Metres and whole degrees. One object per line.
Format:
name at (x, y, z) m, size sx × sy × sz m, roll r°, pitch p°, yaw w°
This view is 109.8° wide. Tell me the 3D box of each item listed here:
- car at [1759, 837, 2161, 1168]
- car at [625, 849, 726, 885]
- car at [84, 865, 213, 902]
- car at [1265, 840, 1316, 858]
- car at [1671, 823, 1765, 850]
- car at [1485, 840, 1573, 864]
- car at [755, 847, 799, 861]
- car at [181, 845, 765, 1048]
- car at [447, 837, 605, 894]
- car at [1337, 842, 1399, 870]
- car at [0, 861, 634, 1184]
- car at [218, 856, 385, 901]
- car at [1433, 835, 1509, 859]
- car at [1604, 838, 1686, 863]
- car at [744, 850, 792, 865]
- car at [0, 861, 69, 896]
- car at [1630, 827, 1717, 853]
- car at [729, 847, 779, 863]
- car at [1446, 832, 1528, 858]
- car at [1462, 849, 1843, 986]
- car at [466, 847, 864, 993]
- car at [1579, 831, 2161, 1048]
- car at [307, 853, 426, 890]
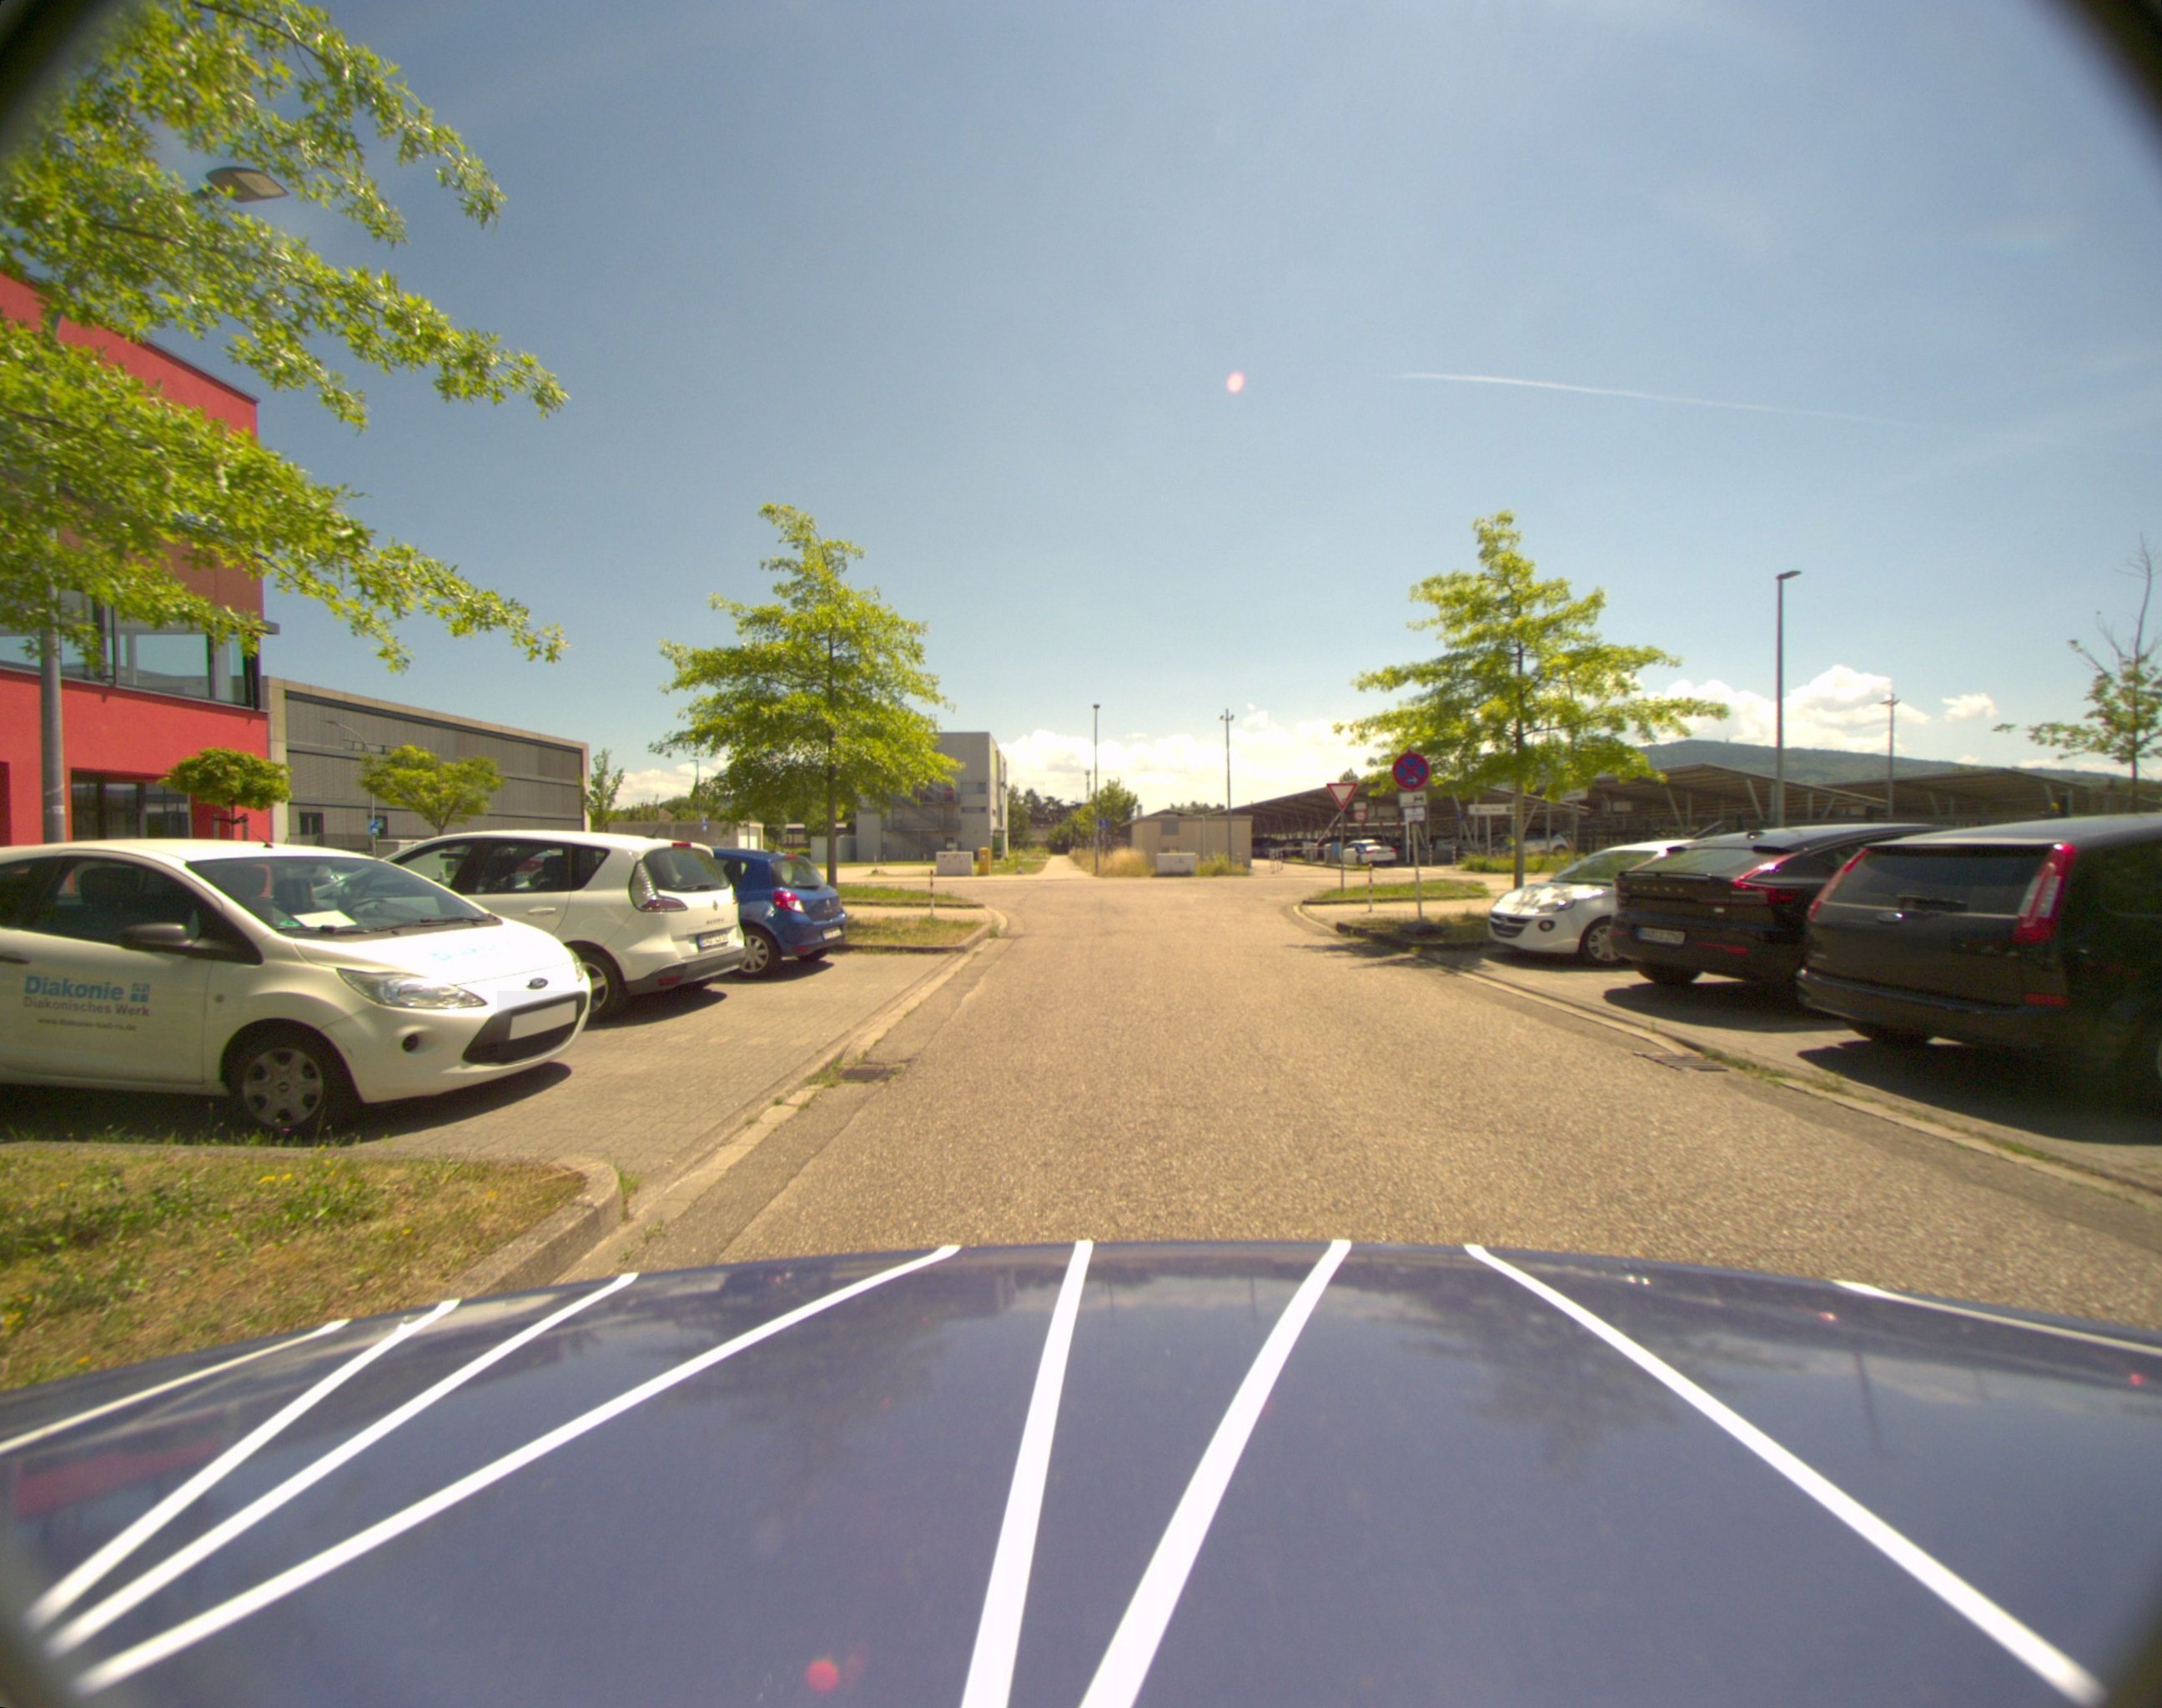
car at (6.865, 0.712, 4.548) m, size 3.915 × 1.583 × 1.728 m, roll -2°, pitch 1°, yaw 5°
car at (-18.465, 0.564, 34.723) m, size 3.625 × 1.493 × 1.682 m, roll -1°, pitch 3°, yaw -1°
car at (-42.154, 1.331, 34.396) m, size 3.625 × 1.461 × 1.658 m, roll -1°, pitch 3°, yaw -1°
car at (17.750, -0.413, 64.496) m, size 3.774 × 1.428 × 1.723 m, roll -1°, pitch 1°, yaw -3°
car at (34.766, -0.939, 41.523) m, size 3.774 × 1.428 × 1.723 m, roll -1°, pitch 1°, yaw -3°
car at (24.198, -0.122, 41.121) m, size 3.774 × 1.221 × 1.723 m, roll -1°, pitch 1°, yaw -3°
car at (-32.215, 0.037, 80.575) m, size 4.054 × 1.379 × 1.658 m, roll -1°, pitch 1°, yaw -1°
car at (-5.402, 0.746, 7.133) m, size 4.119 × 1.641 × 1.774 m, roll 0°, pitch 0°, yaw 3°
car at (-18.783, 0.398, 25.836) m, size 3.997 × 1.764 × 1.811 m, roll -1°, pitch -1°, yaw 0°
car at (15.264, 0.086, 40.622) m, size 1.722 × 1.428 × 3.774 m, roll -1°, pitch 1°, yaw -3°
car at (-4.933, 0.812, 4.506) m, size 3.626 × 1.455 × 1.611 m, roll 1°, pitch 1°, yaw 3°
car at (-26.174, 0.821, 25.615) m, size 3.706 × 1.433 × 1.788 m, roll 0°, pitch -2°, yaw -2°
car at (23.677, -0.441, 46.228) m, size 3.774 × 1.428 × 1.723 m, roll -1°, pitch 1°, yaw -3°
car at (34.377, -0.206, 46.335) m, size 3.774 × 1.428 × 1.723 m, roll -1°, pitch 1°, yaw -3°
car at (-31.716, 0.329, 77.067) m, size 4.054 × 1.417 × 1.658 m, roll -1°, pitch 1°, yaw -1°
car at (-49.061, 1.119, 34.581) m, size 3.625 × 1.461 × 1.658 m, roll -1°, pitch 3°, yaw -1°
car at (34.306, -0.786, 44.057) m, size 3.774 × 1.428 × 1.723 m, roll -1°, pitch 1°, yaw -3°
car at (-31.151, 0.081, 72.419) m, size 4.054 × 1.458 × 1.658 m, roll -1°, pitch 1°, yaw -1°
car at (23.050, -0.501, 43.225) m, size 3.774 × 1.428 × 1.723 m, roll -1°, pitch 1°, yaw -3°
car at (7.044, 0.732, 9.657) m, size 3.513 × 1.433 × 1.727 m, roll -2°, pitch 1°, yaw 0°
car at (-4.979, 0.728, 9.420) m, size 4.004 × 1.482 × 1.728 m, roll 2°, pitch 1°, yaw 5°
car at (7.154, 0.674, 7.055) m, size 3.848 × 1.584 × 1.829 m, roll -2°, pitch 1°, yaw -2°
car at (-32.002, 0.760, 34.107) m, size 3.625 × 1.461 × 1.658 m, roll -1°, pitch 3°, yaw -1°
